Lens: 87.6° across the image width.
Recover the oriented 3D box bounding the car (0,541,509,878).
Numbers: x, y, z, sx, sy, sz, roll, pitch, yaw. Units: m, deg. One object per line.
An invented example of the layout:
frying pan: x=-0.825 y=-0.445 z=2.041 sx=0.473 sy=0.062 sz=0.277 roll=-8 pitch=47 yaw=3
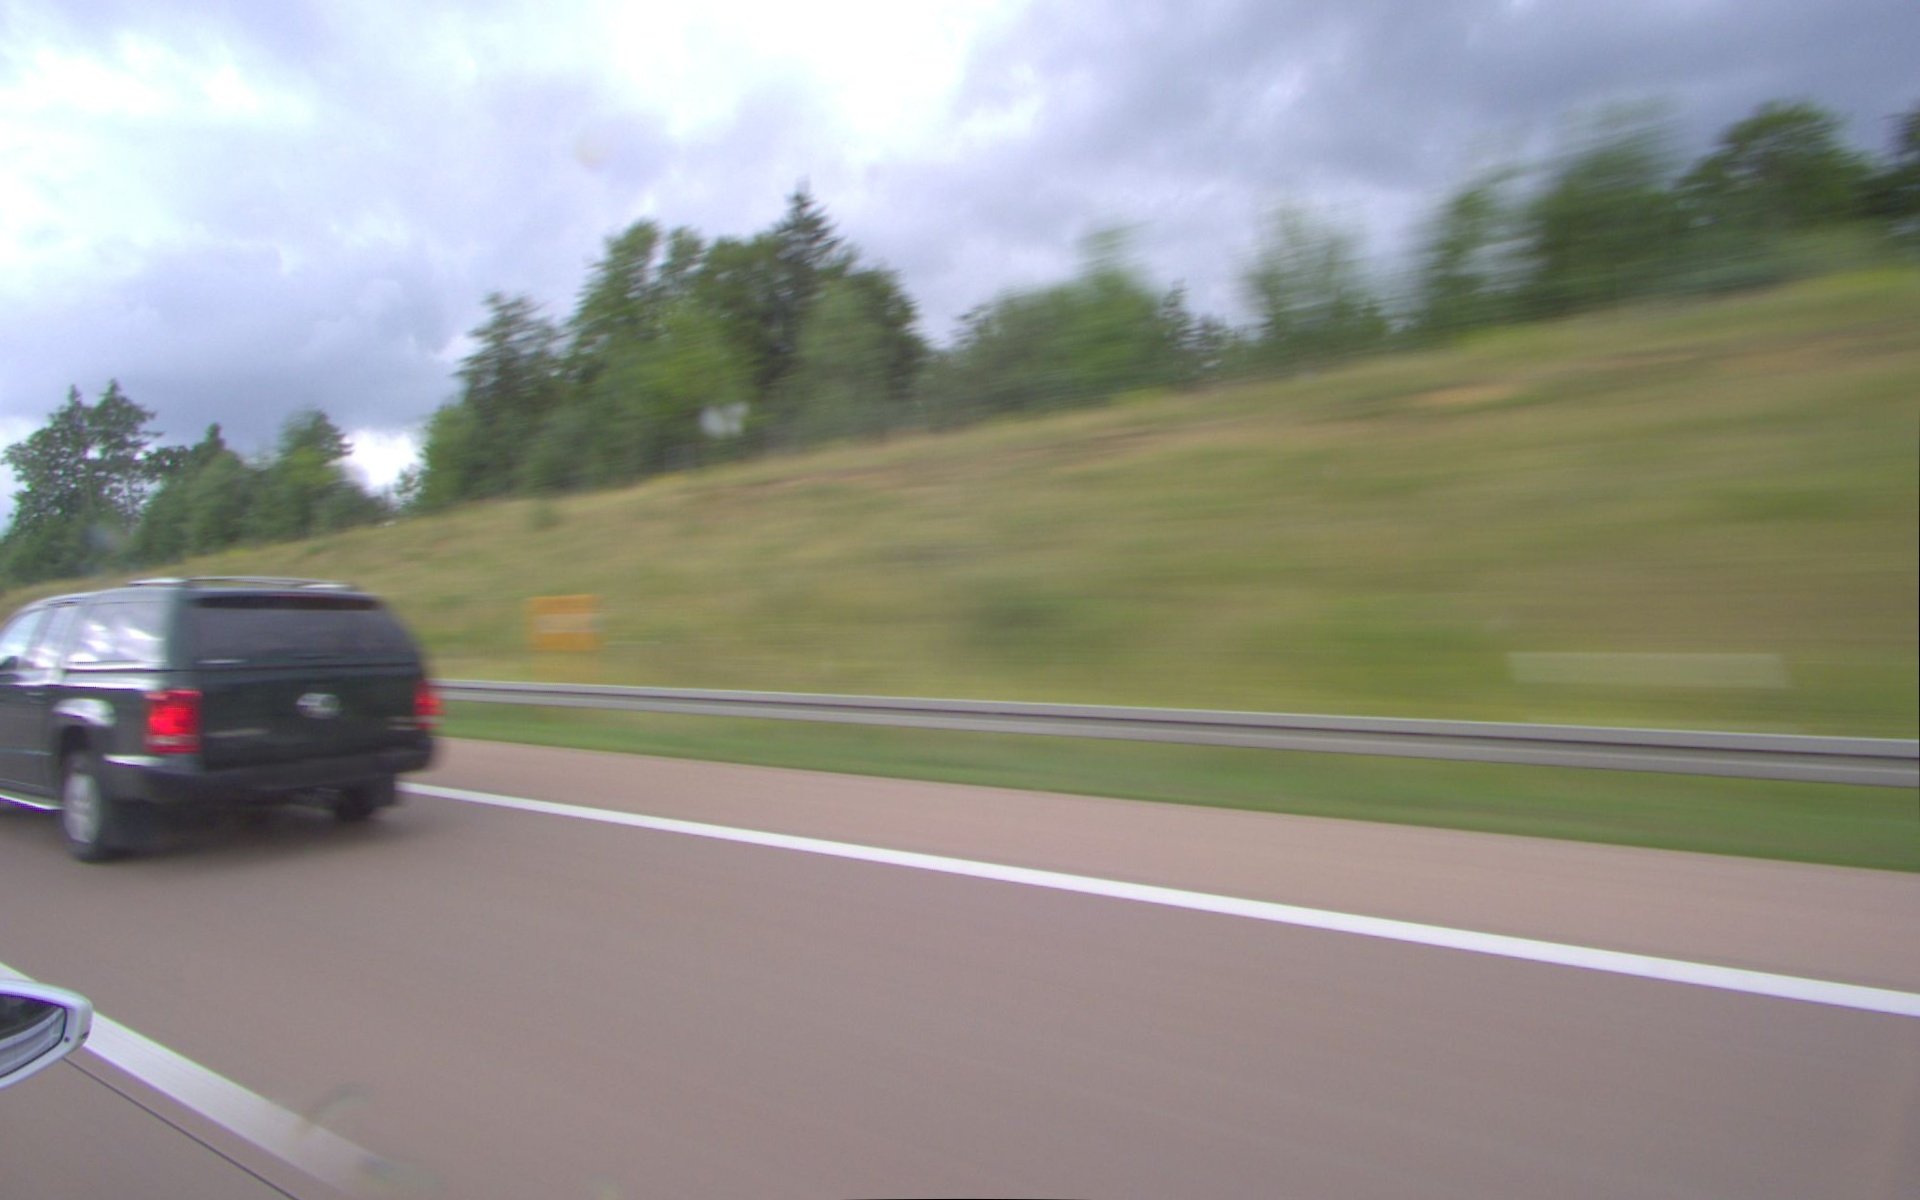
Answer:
car: x=-6.221 y=0.715 z=8.054 sx=5.498 sy=1.921 sz=2.040 roll=-2 pitch=-1 yaw=32
